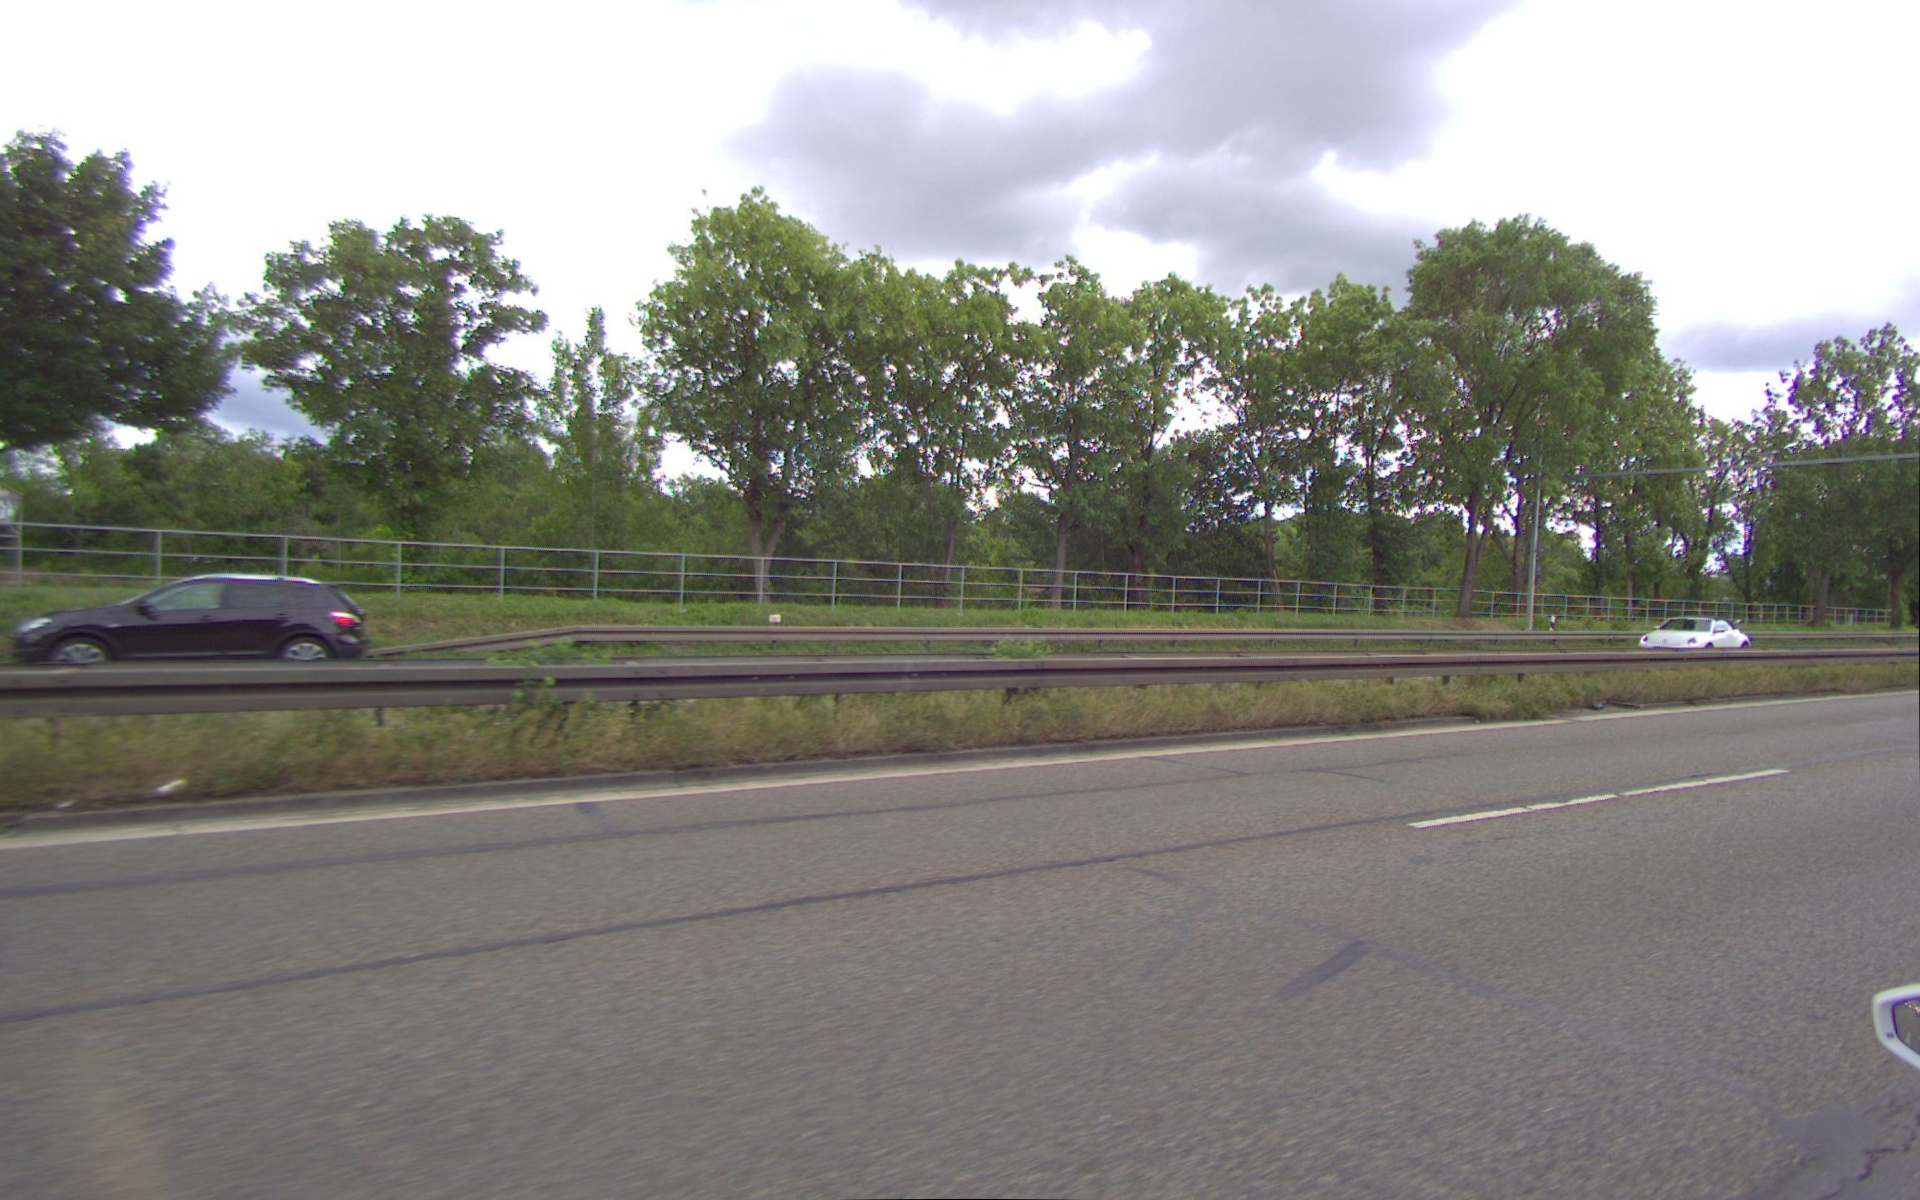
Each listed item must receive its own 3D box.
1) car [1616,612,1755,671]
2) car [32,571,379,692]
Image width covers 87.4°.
[{"bbox_3d":[22.790,1.257,31.517,4.665,1.697,1.857,1,0,-31],"label":"car"},{"bbox_3d":[-11.190,0.458,15.299,3.994,1.626,1.718,1,-1,-30],"label":"car"}]
